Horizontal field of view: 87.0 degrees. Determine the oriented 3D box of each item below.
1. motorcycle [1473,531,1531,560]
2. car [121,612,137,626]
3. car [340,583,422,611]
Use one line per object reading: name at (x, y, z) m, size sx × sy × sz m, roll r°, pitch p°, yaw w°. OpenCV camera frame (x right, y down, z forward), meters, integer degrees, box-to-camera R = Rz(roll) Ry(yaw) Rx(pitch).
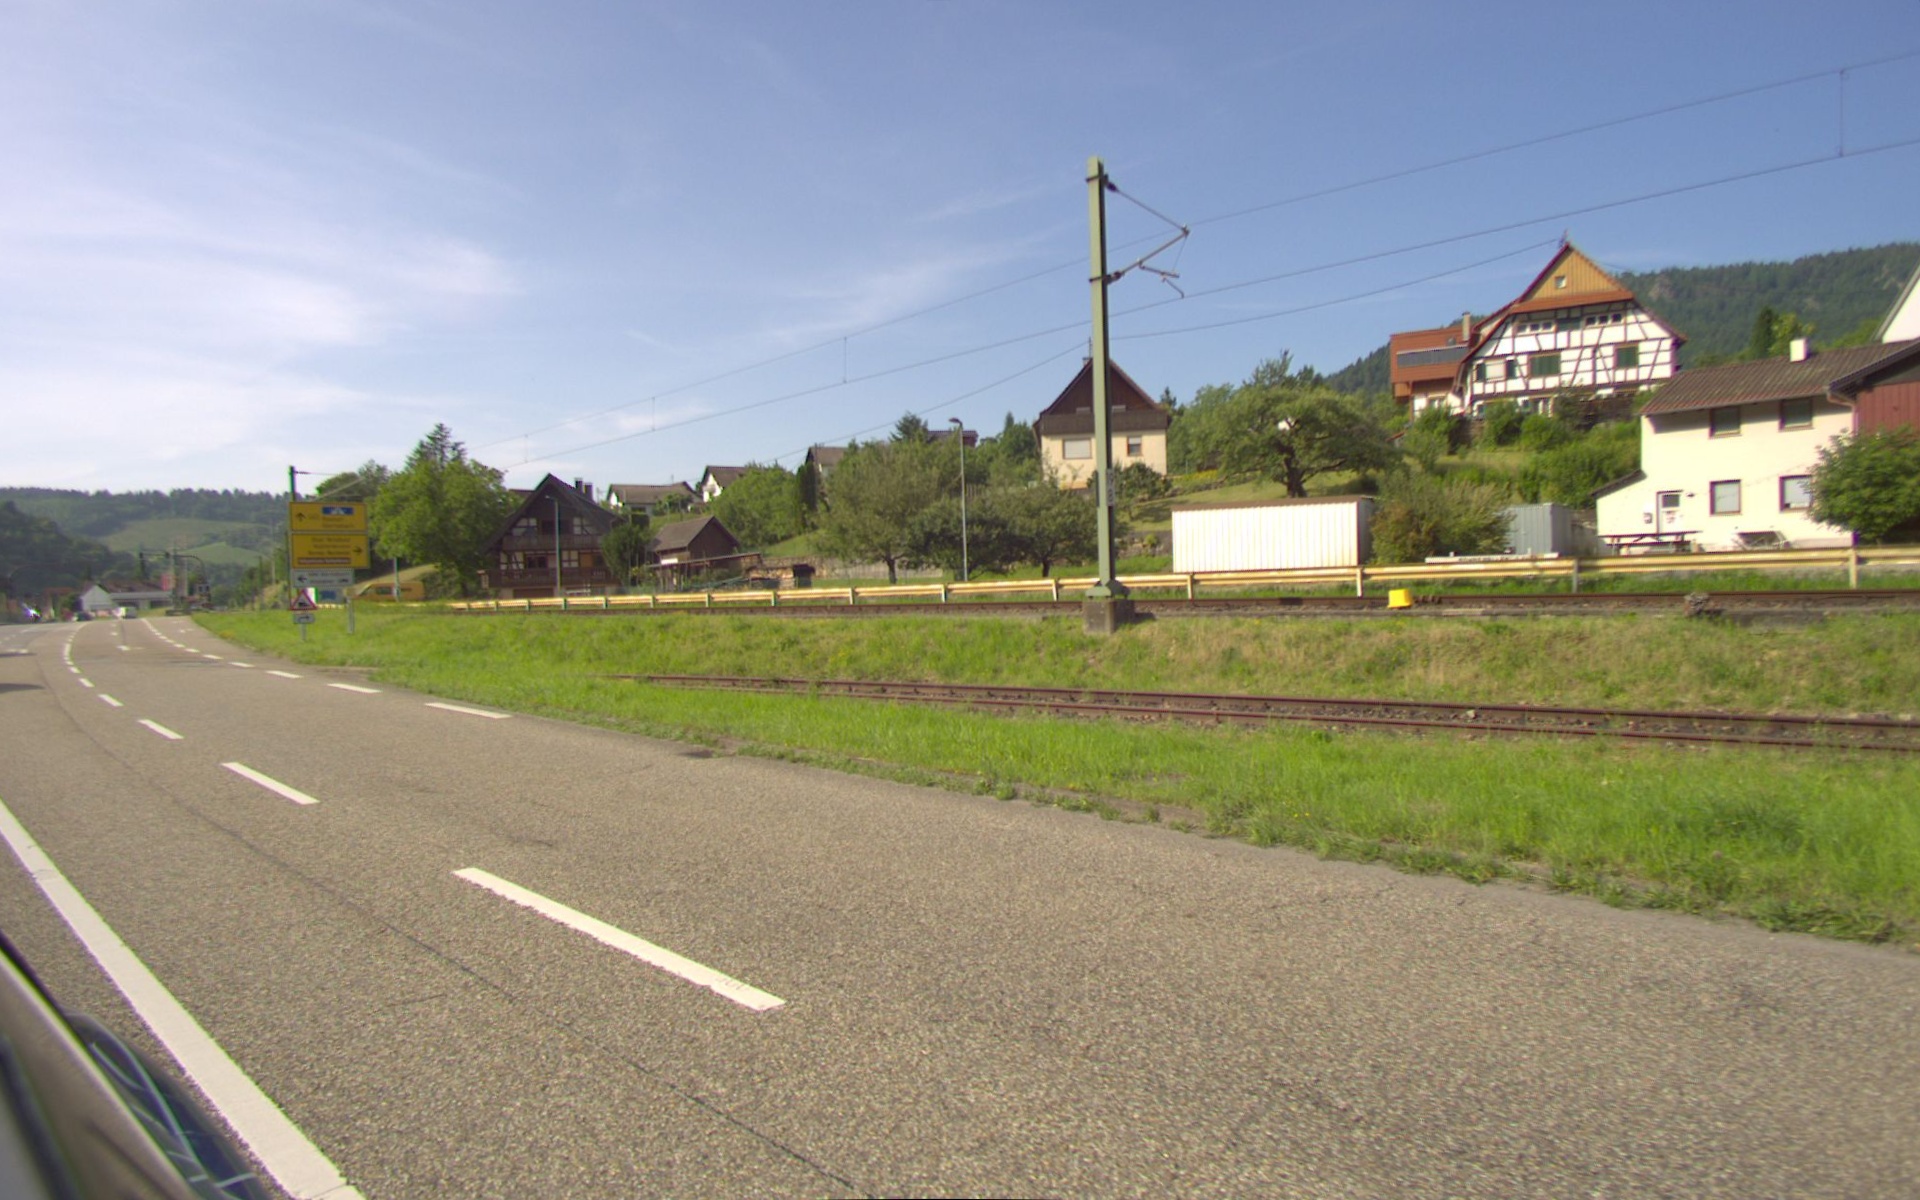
motorcycle at (20.154, -2.022, 37.649) m, size 1.743 × 1.000 × 0.655 m, roll -1°, pitch 2°, yaw 43°
car at (-158.907, 3.603, 193.600) m, size 2.093 × 2.454 × 5.238 m, roll -4°, pitch 1°, yaw -38°
car at (-58.412, -0.289, 102.289) m, size 6.967 × 2.475 × 2.957 m, roll -4°, pitch 1°, yaw -30°
